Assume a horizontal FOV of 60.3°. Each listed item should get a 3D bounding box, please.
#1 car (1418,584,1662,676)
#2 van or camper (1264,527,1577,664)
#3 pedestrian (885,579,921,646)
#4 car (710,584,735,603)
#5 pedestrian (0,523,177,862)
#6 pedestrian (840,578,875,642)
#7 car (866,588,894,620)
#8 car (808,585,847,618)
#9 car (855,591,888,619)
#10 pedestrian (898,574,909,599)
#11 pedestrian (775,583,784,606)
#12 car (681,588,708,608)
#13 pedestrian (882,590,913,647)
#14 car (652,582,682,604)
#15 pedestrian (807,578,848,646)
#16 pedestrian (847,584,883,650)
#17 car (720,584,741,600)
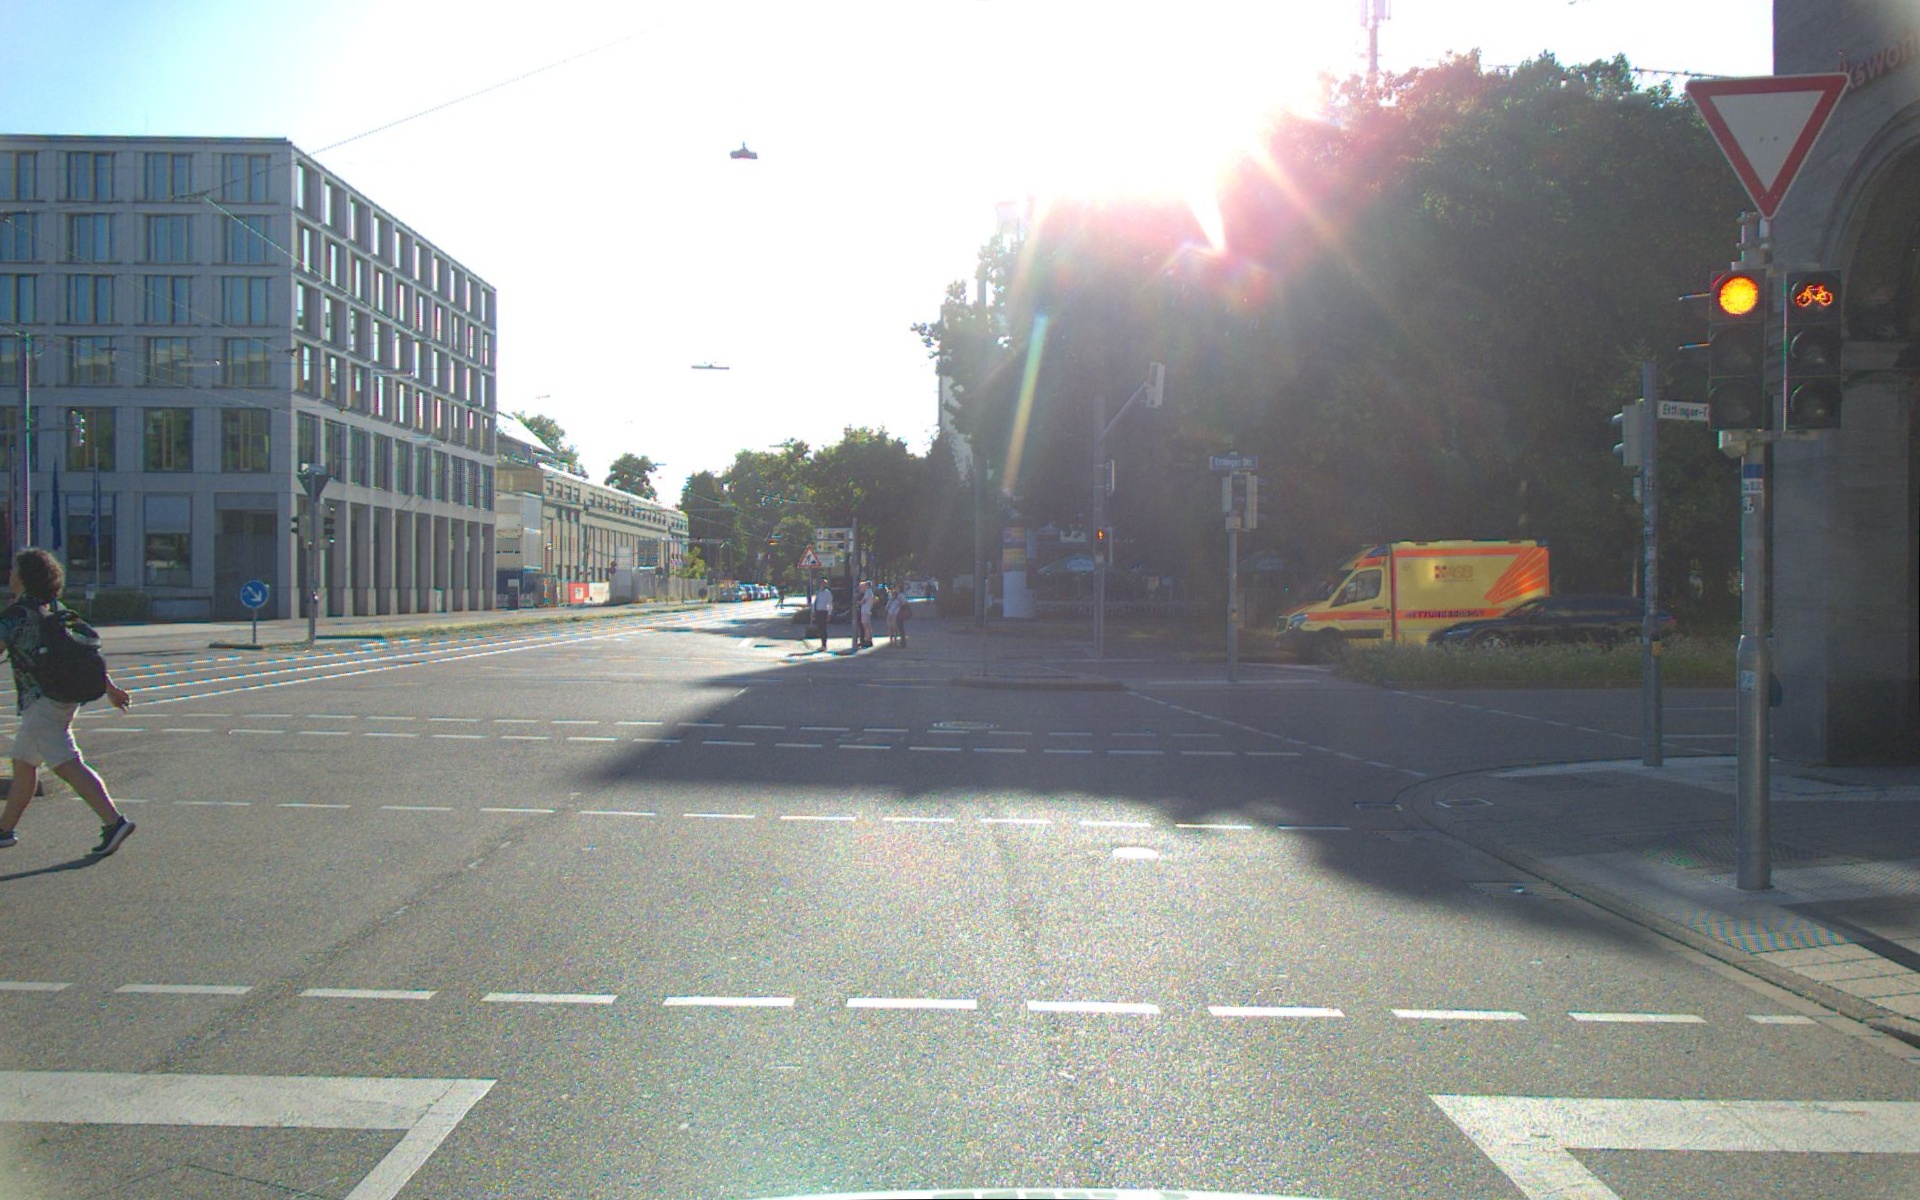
[{"bbox_3d":[11.567,0.603,33.185,4.226,1.676,1.887,2,-1,-1],"label":"car"},{"bbox_3d":[10.659,-0.092,38.839,6.568,2.912,2.912,2,-1,3],"label":"van or camper"},{"bbox_3d":[-1.574,0.342,45.809,0.834,1.815,0.776,0,0,-17],"label":"pedestrian"},{"bbox_3d":[-22.322,-0.650,155.588,1.782,1.742,3.805,0,0,-1],"label":"car"},{"bbox_3d":[-4.979,0.477,9.066,1.021,1.751,1.032,0,0,-12],"label":"pedestrian"},{"bbox_3d":[-2.930,0.282,47.319,0.834,1.815,0.776,0,0,-17],"label":"pedestrian"},{"bbox_3d":[-5.194,0.248,107.533,1.650,1.996,3.508,2,-1,-1],"label":"car"},{"bbox_3d":[-6.539,0.083,81.745,1.650,1.527,3.508,2,-1,-1],"label":"car"},{"bbox_3d":[-4.925,0.296,91.925,1.650,1.527,3.508,2,-1,-1],"label":"car"},{"bbox_3d":[-8.393,-2.008,245.771,1.373,3.660,1.567,2,-1,-1],"label":"pedestrian"},{"bbox_3d":[-11.985,-0.370,109.695,0.513,1.510,0.437,2,-1,-2],"label":"pedestrian"},{"bbox_3d":[-23.058,-0.157,143.930,1.782,1.742,3.805,0,0,-1],"label":"car"},{"bbox_3d":[-1.752,0.518,46.548,0.750,1.586,0.585,0,0,-17],"label":"pedestrian"},{"bbox_3d":[-23.537,-0.581,133.101,1.782,1.742,3.805,0,0,-1],"label":"car"},{"bbox_3d":[-3.606,0.321,44.910,0.950,1.815,0.776,0,0,-17],"label":"pedestrian"},{"bbox_3d":[-2.674,0.467,46.522,0.834,1.815,0.776,0,0,-17],"label":"pedestrian"},{"bbox_3d":[-22.120,-0.753,159.682,1.577,1.525,3.805,0,0,-1],"label":"car"}]
